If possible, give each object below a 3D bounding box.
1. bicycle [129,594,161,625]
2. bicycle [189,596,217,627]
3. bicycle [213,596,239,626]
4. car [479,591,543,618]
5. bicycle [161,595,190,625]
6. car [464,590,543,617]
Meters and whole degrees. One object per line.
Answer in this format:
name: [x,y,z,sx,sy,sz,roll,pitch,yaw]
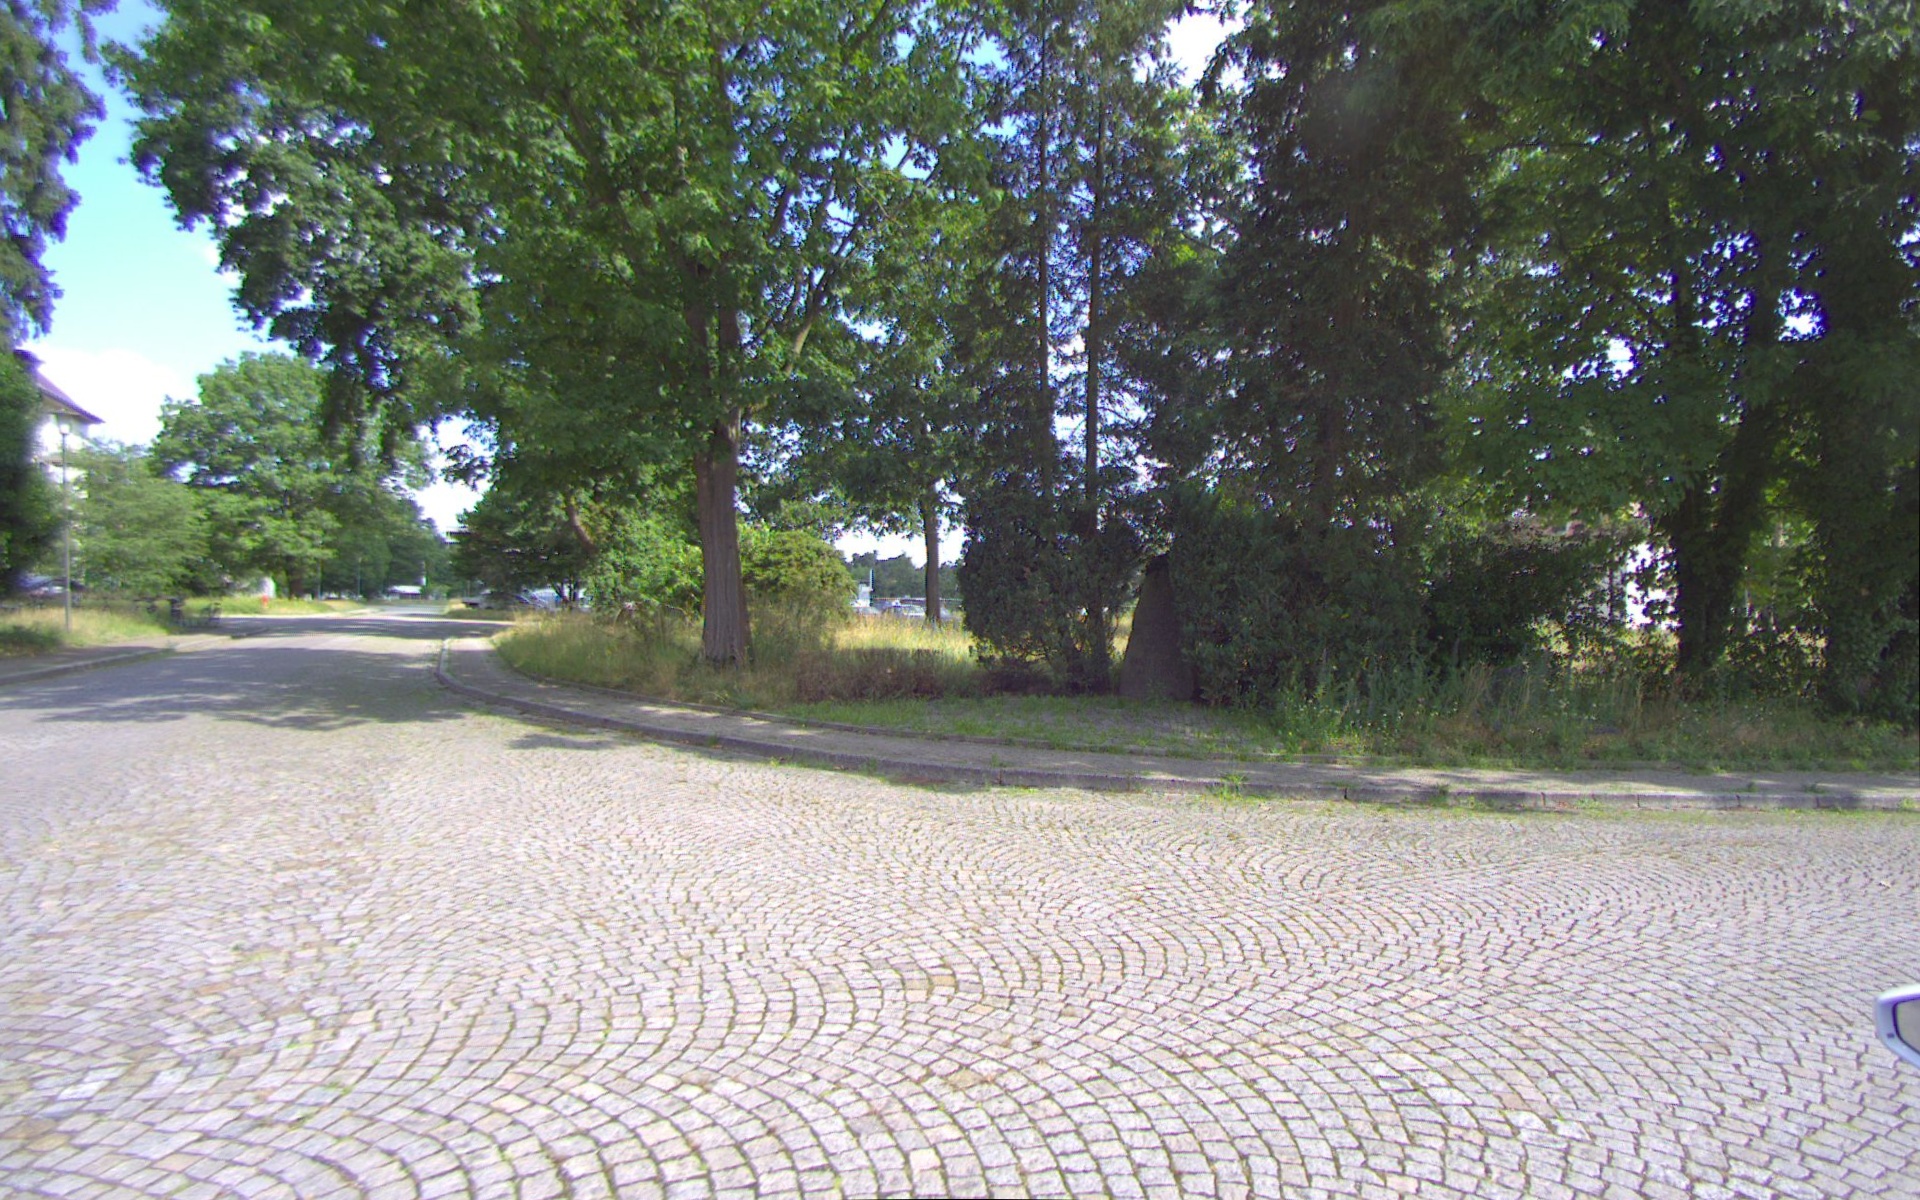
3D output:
bicycle: [-30.523,0.346,37.624,0.553,1.113,2.197,2,0,-30]
bicycle: [-28.635,0.409,38.010,0.553,1.113,2.197,2,0,-30]
bicycle: [-28.201,0.417,38.608,0.553,1.113,2.197,2,0,-30]
car: [-36.090,0.338,80.831,4.579,2.018,1.989,2,1,-23]
bicycle: [-29.722,0.369,38.079,0.553,1.113,2.197,2,0,-30]
car: [-38.585,0.307,85.062,5.918,2.018,1.989,2,1,-23]
